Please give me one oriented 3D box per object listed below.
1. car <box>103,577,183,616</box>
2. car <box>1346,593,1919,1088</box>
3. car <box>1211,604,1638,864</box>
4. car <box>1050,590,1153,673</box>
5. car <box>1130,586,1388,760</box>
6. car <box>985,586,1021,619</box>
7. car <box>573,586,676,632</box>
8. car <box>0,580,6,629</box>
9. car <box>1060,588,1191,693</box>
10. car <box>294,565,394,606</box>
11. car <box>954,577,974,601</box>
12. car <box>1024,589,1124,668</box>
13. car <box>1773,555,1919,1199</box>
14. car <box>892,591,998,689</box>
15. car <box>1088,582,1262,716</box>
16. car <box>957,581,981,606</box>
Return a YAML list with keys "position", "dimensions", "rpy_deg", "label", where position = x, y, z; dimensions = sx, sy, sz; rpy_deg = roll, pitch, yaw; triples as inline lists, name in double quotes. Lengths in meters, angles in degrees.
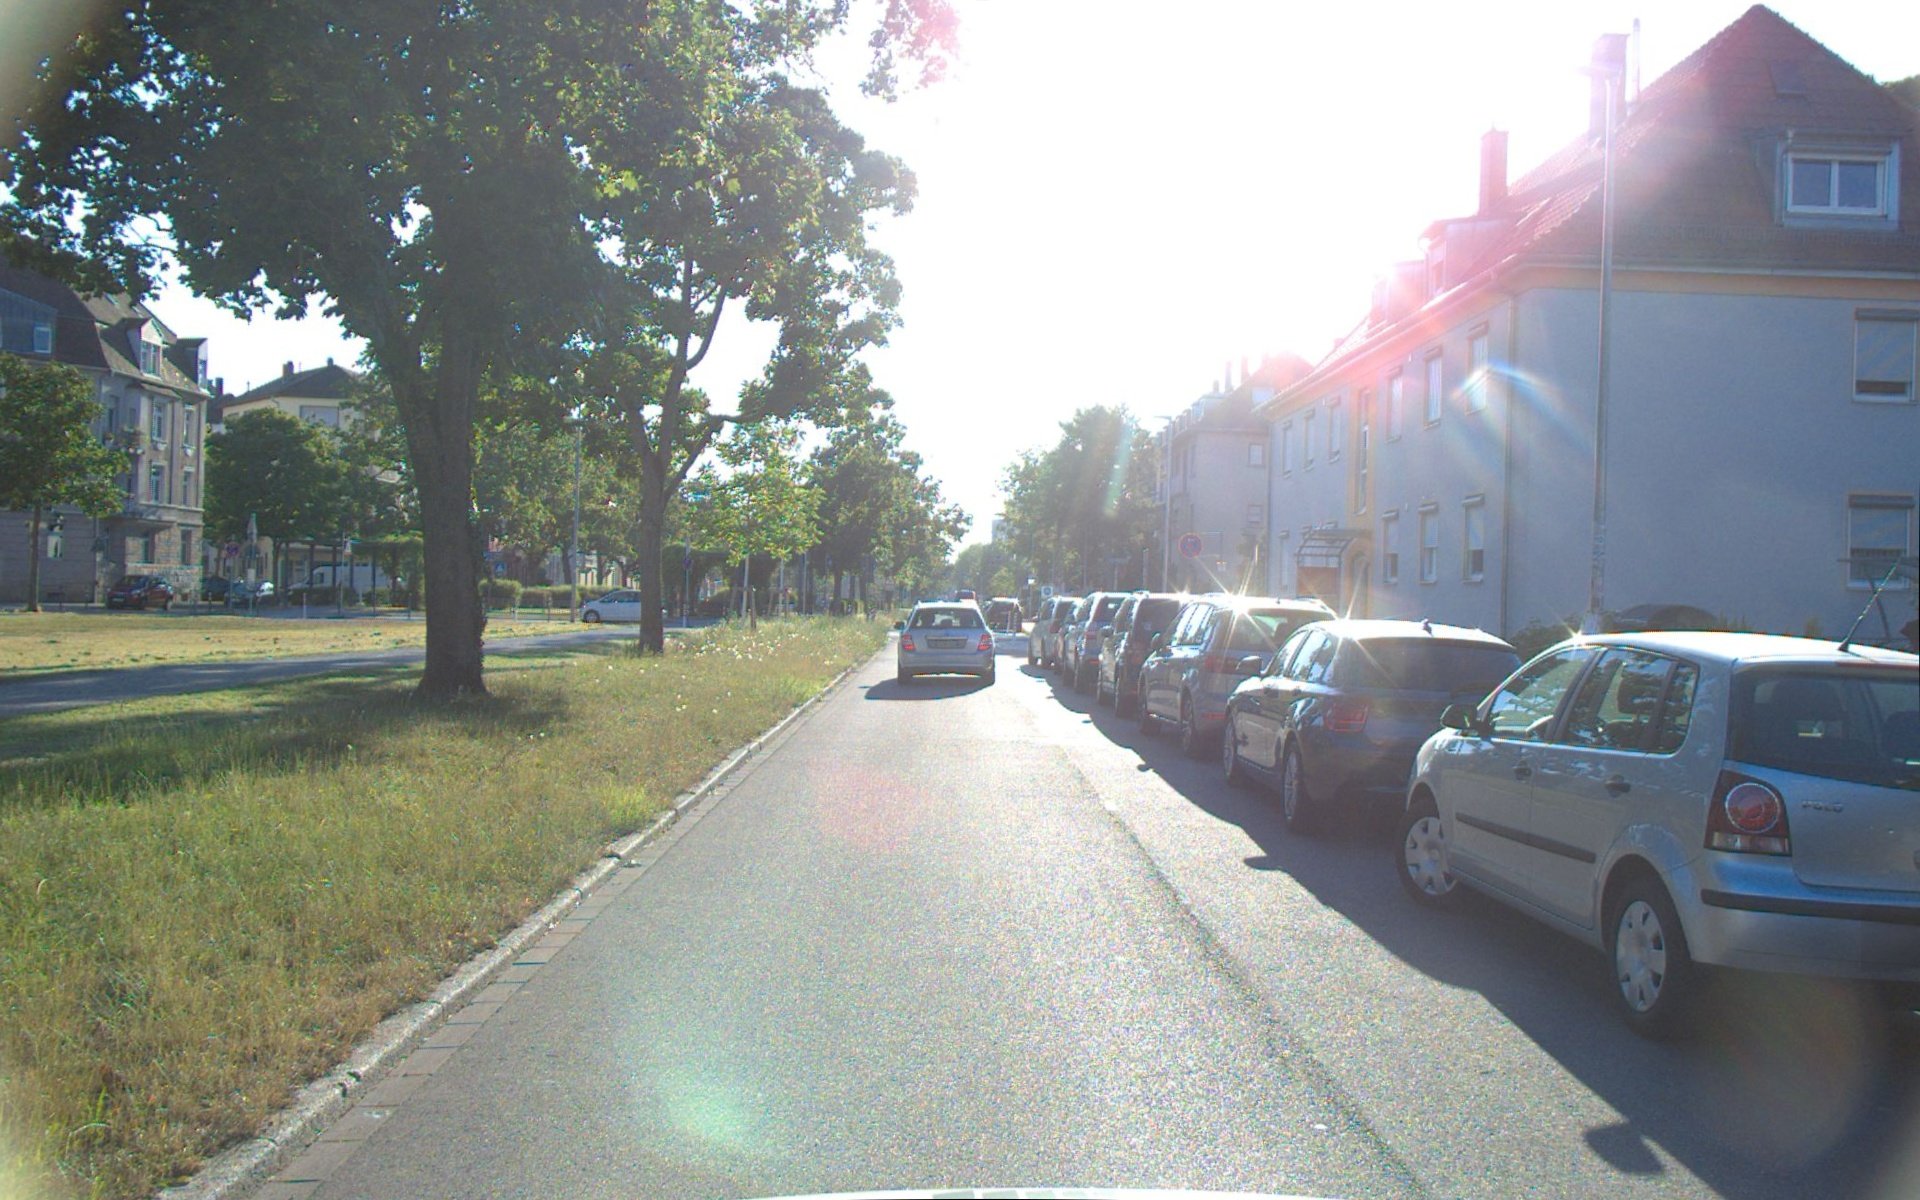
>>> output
- position: [-39.372, -0.158, 79.819]
  dimensions: [1.610, 1.737, 4.294]
  rpy_deg: [-3, 0, 1]
  label: "car"
- position: [3.255, 0.845, 7.591]
  dimensions: [1.694, 1.575, 4.205]
  rpy_deg: [5, 0, -3]
  label: "car"
- position: [3.229, 0.836, 12.539]
  dimensions: [1.952, 1.488, 4.562]
  rpy_deg: [2, 1, 1]
  label: "car"
- position: [2.844, 0.593, 33.890]
  dimensions: [1.694, 1.553, 3.734]
  rpy_deg: [-1, 1, -1]
  label: "car"
- position: [3.034, 0.670, 17.711]
  dimensions: [1.690, 1.588, 4.414]
  rpy_deg: [1, 0, -4]
  label: "car"
- position: [2.149, 0.144, 82.898]
  dimensions: [1.686, 1.625, 3.999]
  rpy_deg: [0, 0, 0]
  label: "car"
- position: [-13.652, 0.366, 67.515]
  dimensions: [3.817, 1.624, 1.998]
  rpy_deg: [-3, 0, -5]
  label: "car"
- position: [-33.836, 0.176, 54.456]
  dimensions: [1.943, 1.665, 4.828]
  rpy_deg: [-3, 0, 1]
  label: "car"
- position: [2.804, 0.653, 28.951]
  dimensions: [1.741, 1.672, 4.755]
  rpy_deg: [0, 0, -1]
  label: "car"
- position: [-42.252, -0.960, 113.535]
  dimensions: [6.231, 2.767, 1.982]
  rpy_deg: [0, 1, -31]
  label: "car"
- position: [0.353, -1.020, 159.277]
  dimensions: [1.823, 2.231, 5.070]
  rpy_deg: [1, 0, 0]
  label: "car"
- position: [2.640, 0.618, 39.143]
  dimensions: [1.683, 1.667, 4.560]
  rpy_deg: [2, 0, -4]
  label: "car"
- position: [3.179, 0.789, 2.147]
  dimensions: [1.816, 1.686, 4.819]
  rpy_deg: [2, 1, 0]
  label: "car"
- position: [-0.265, 0.668, 30.120]
  dimensions: [1.786, 1.594, 4.000]
  rpy_deg: [-1, 1, 0]
  label: "car"
- position: [2.930, 0.632, 23.517]
  dimensions: [1.730, 1.663, 4.763]
  rpy_deg: [2, 0, -1]
  label: "car"
- position: [0.743, -0.572, 141.227]
  dimensions: [1.948, 2.059, 4.000]
  rpy_deg: [1, 0, 0]
  label: "car"
